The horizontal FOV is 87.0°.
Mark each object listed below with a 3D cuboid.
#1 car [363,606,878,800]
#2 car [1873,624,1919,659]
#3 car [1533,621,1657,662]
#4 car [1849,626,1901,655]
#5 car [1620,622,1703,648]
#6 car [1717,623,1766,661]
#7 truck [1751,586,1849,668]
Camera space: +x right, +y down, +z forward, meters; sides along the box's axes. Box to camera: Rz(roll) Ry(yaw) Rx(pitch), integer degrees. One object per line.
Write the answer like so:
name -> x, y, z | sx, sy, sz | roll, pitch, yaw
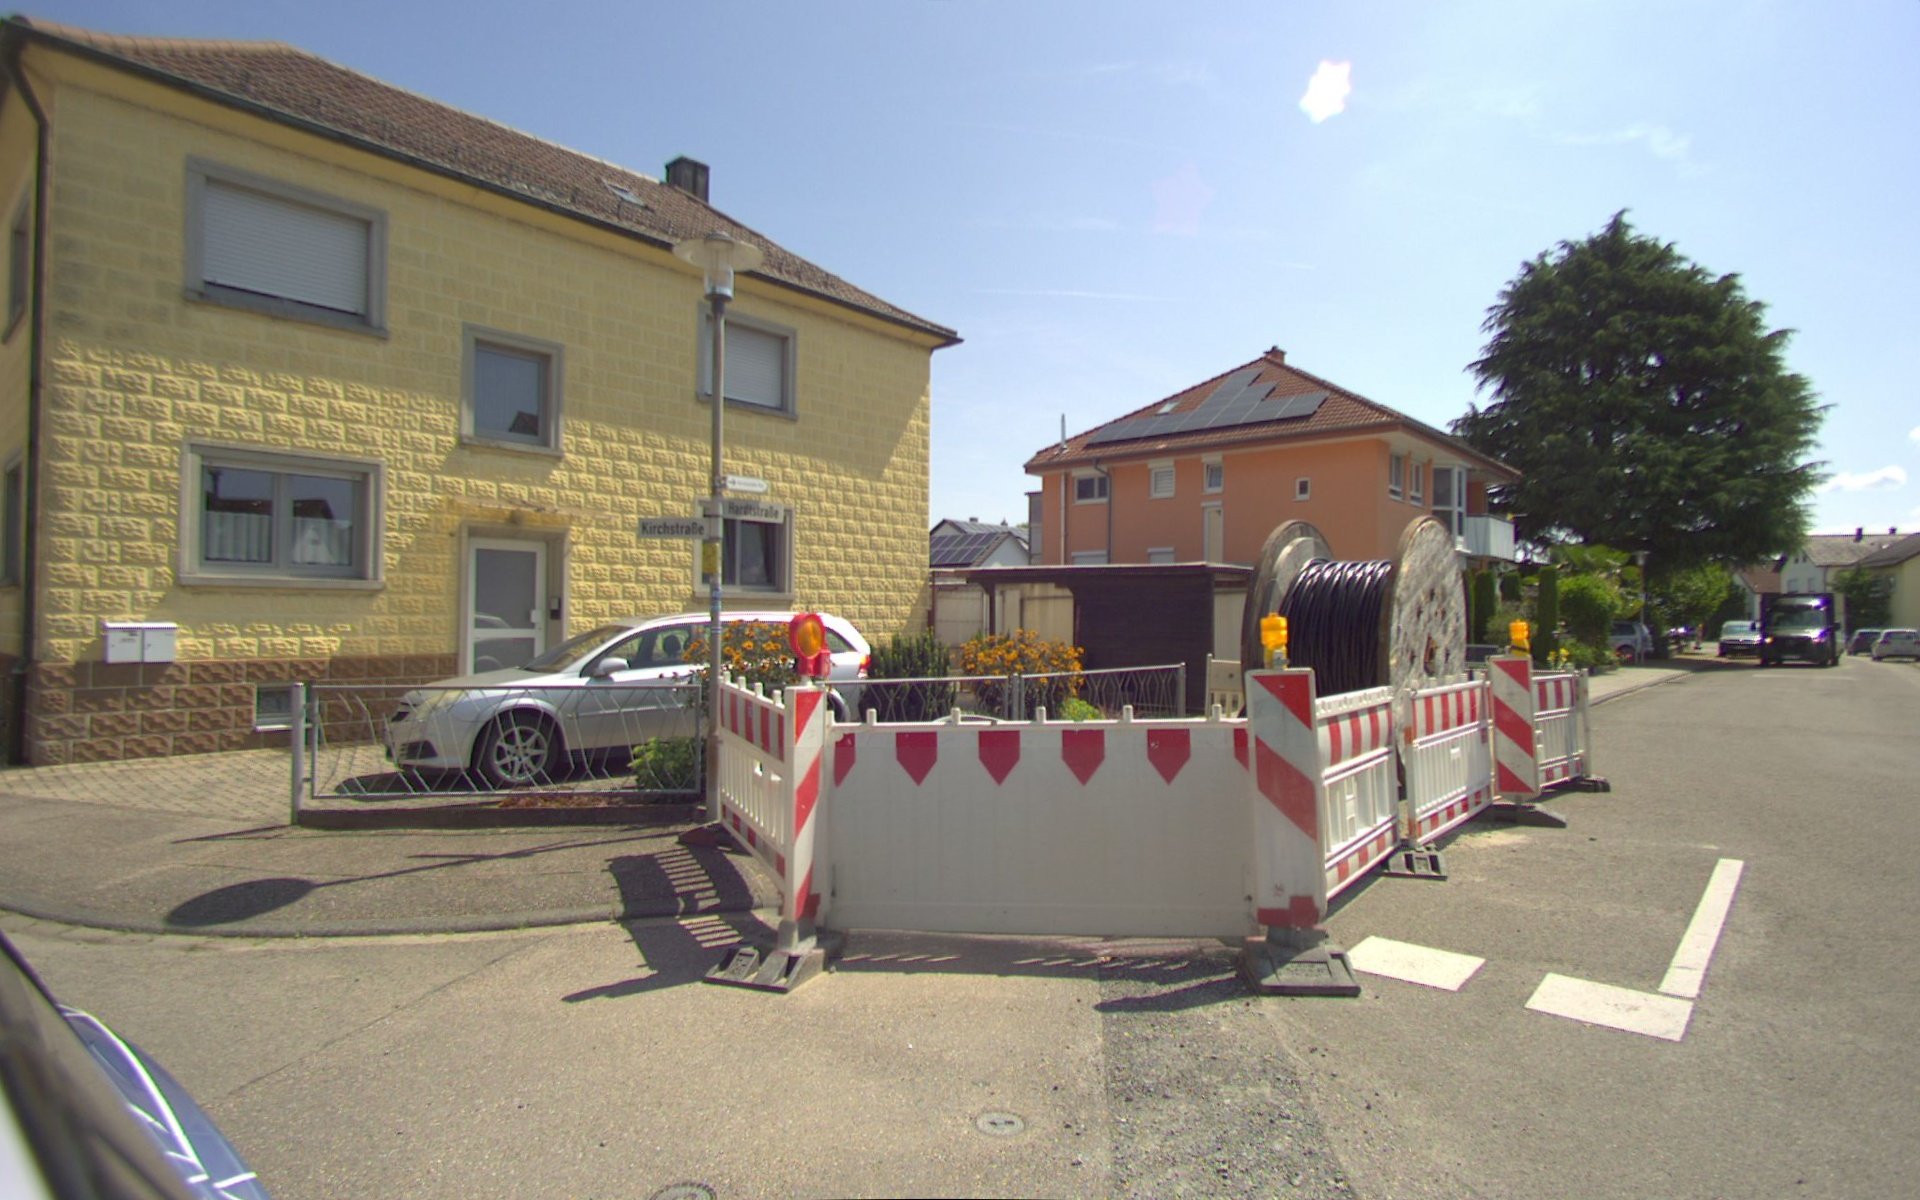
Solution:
car -> -3.145, 0.852, 9.847 | 4.400, 1.496, 1.796 | 2, -2, -37
car -> 42.828, 1.853, 45.879 | 1.811, 1.506, 3.949 | -1, -2, 38
car -> 27.039, 1.744, 43.191 | 4.207, 1.665, 1.788 | -1, -2, 44
car -> 50.554, 2.201, 55.999 | 1.811, 1.506, 3.949 | -1, -2, 38
car -> 45.612, 2.246, 65.884 | 4.207, 1.665, 1.788 | -1, -2, 44
car -> 38.092, 2.007, 49.352 | 1.811, 1.776, 4.152 | -1, -2, 38
truck -> 32.185, 1.047, 38.681 | 2.441, 2.809, 7.196 | -5, -4, 42
